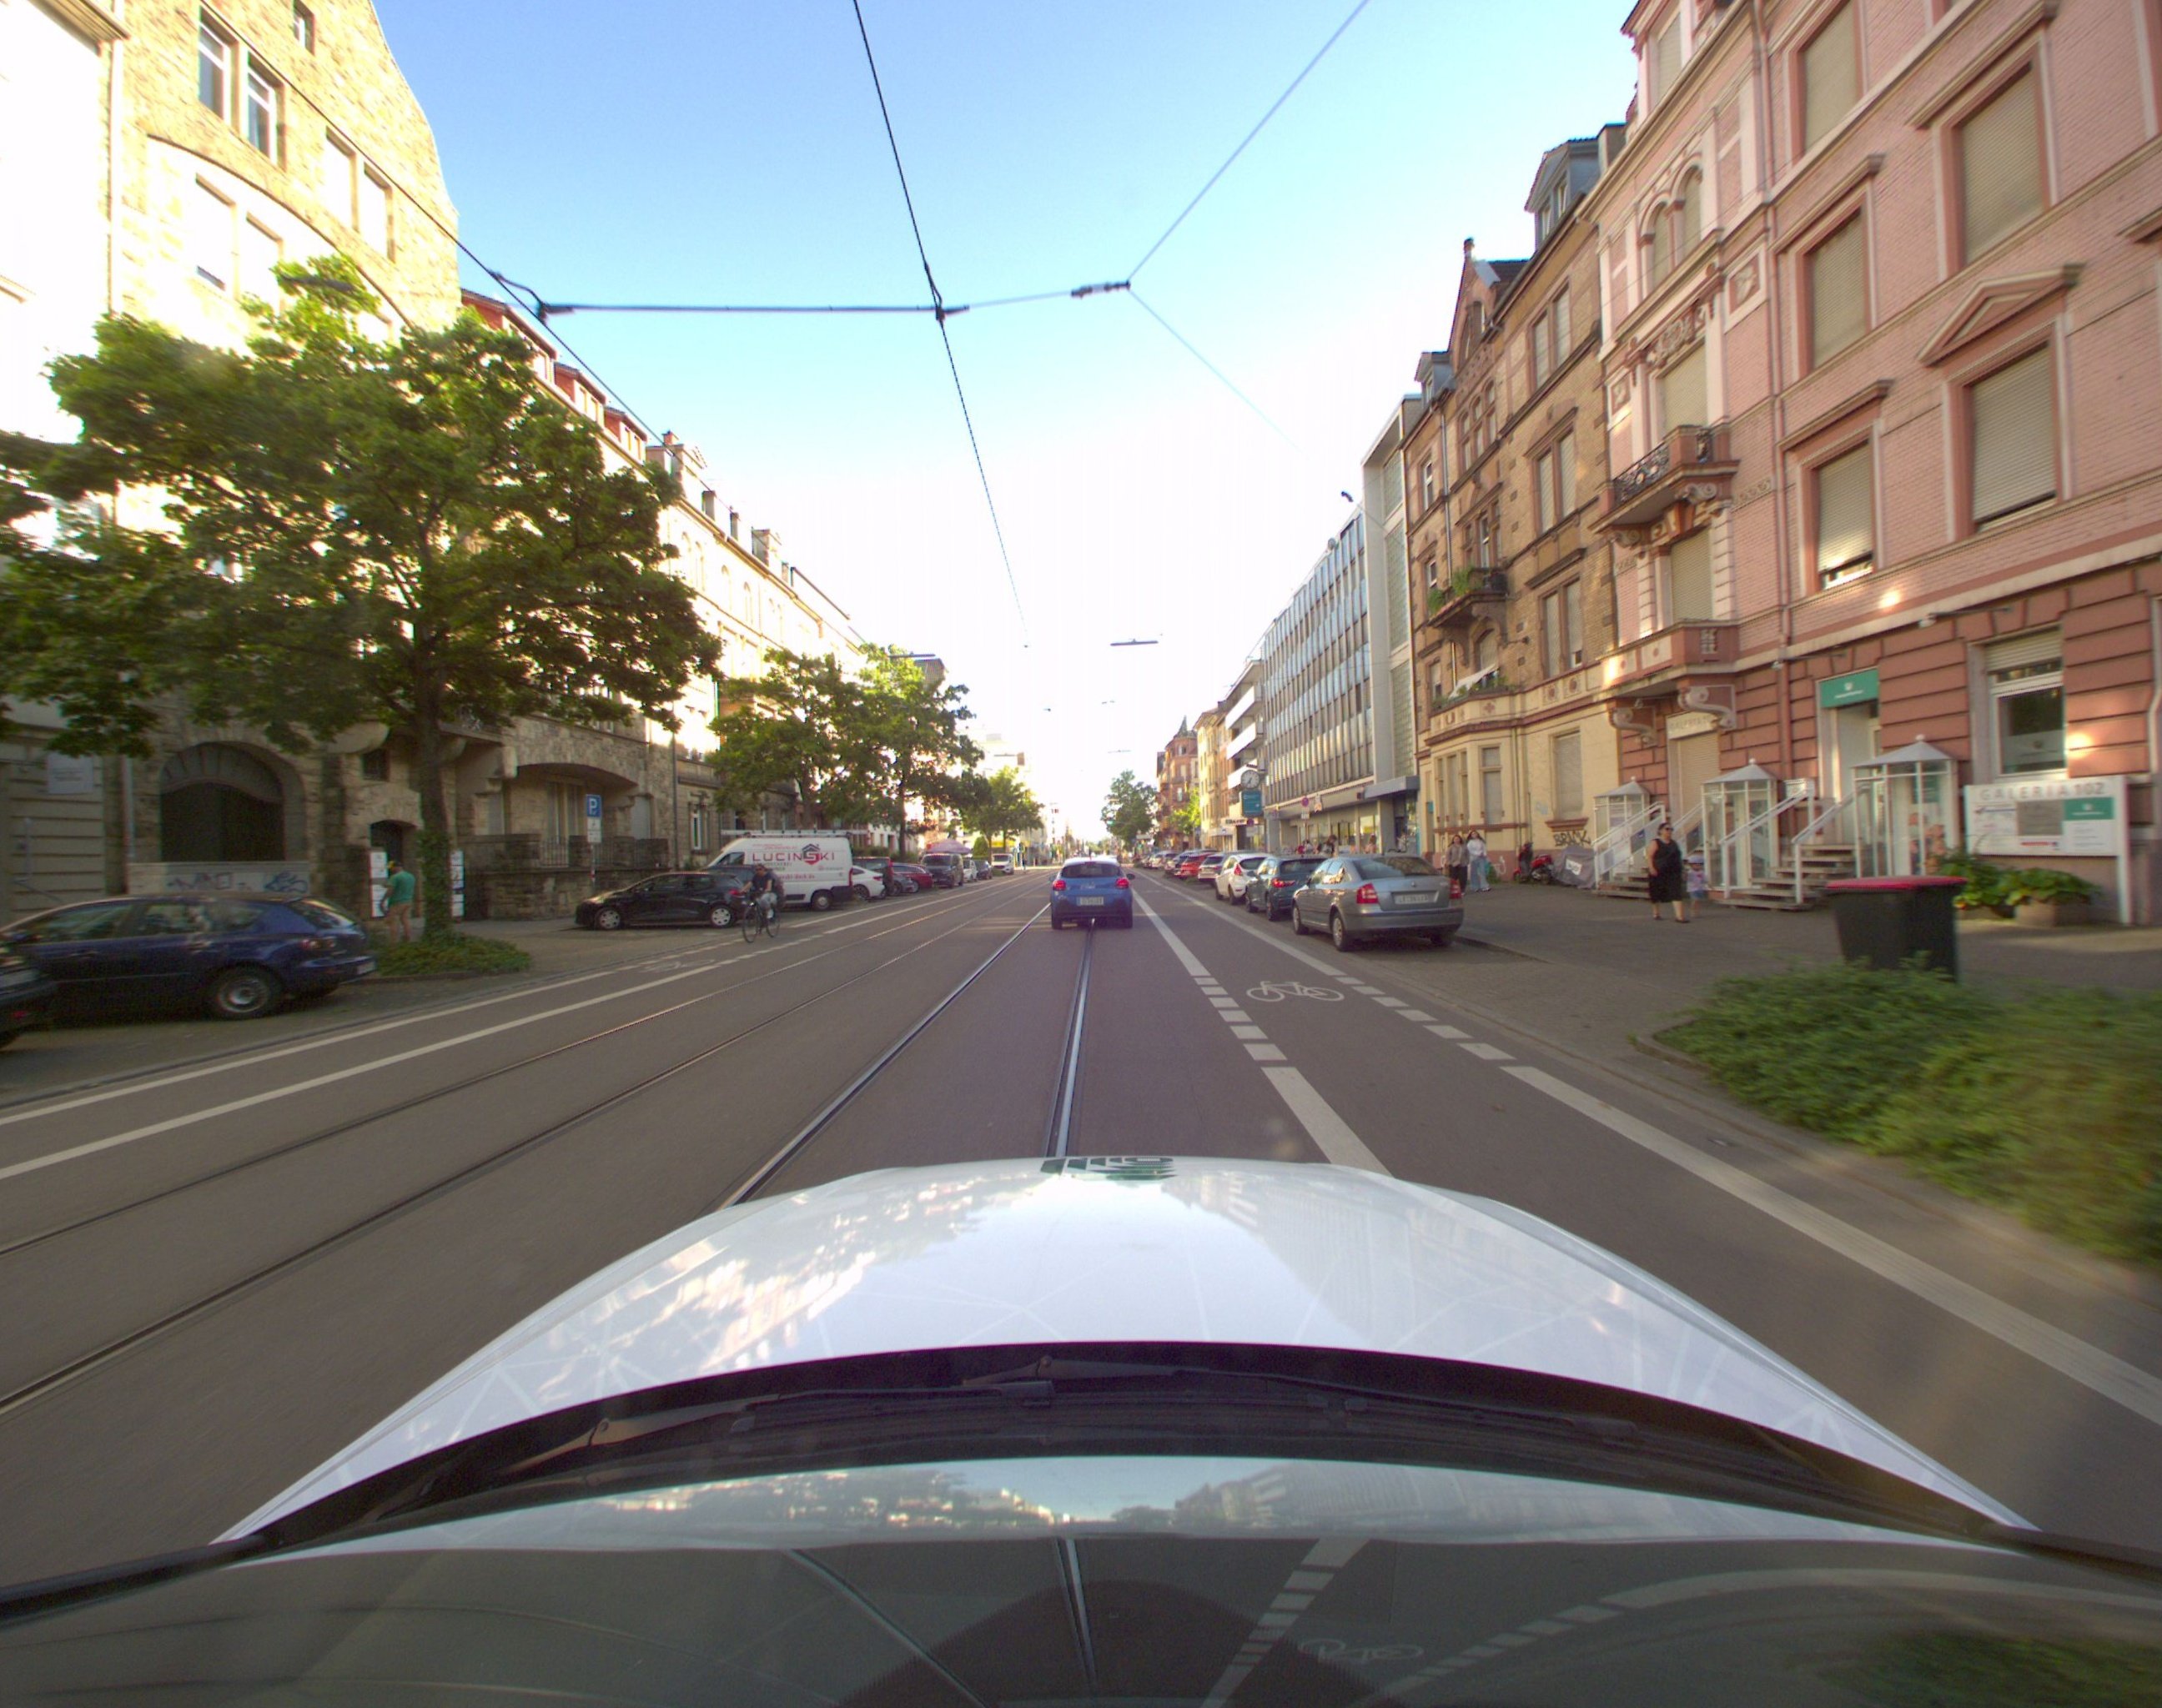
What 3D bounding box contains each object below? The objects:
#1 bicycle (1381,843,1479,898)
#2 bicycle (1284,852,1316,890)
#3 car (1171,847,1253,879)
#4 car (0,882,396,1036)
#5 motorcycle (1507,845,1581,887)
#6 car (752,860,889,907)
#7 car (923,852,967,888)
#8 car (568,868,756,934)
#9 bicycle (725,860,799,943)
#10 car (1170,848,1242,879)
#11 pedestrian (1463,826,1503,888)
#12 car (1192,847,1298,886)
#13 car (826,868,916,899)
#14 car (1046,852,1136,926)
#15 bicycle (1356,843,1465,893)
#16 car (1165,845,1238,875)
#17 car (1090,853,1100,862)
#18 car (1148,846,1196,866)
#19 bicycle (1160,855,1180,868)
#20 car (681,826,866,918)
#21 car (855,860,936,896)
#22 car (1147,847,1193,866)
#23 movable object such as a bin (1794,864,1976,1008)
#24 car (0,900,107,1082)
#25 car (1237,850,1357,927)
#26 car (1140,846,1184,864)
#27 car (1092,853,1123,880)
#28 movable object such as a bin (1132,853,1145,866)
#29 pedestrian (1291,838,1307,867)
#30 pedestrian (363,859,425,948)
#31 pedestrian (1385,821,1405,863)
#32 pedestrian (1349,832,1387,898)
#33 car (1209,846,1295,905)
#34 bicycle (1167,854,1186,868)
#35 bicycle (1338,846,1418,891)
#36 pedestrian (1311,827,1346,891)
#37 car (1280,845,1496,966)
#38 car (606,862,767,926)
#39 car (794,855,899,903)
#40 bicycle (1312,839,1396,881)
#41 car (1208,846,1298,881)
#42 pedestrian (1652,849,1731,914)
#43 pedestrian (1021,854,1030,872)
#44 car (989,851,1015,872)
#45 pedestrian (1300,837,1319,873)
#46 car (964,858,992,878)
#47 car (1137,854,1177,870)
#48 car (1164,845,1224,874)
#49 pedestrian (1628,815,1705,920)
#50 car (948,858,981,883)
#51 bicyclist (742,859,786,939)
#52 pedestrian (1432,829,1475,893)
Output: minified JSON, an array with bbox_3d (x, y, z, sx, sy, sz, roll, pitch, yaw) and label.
[{"bbox_3d":[8.437,0.394,19.739,2.050,1.221,0.663,-2,-1,-1],"label":"bicycle"},{"bbox_3d":[7.039,0.548,26.232,0.690,1.185,1.239,-1,-1,1],"label":"bicycle"},{"bbox_3d":[6.709,0.460,41.689,3.743,1.521,1.949,-1,-1,-32],"label":"car"},{"bbox_3d":[-10.952,1.152,9.632,4.008,1.489,1.790,-1,-1,-27],"label":"car"},{"bbox_3d":[12.241,0.307,21.623,0.505,0.991,2.520,-5,-1,2],"label":"motorcycle"},{"bbox_3d":[-10.019,1.087,31.448,4.787,1.618,1.695,-1,-1,-31],"label":"car"},{"bbox_3d":[-7.877,0.895,47.532,1.742,1.973,5.237,-1,0,-1],"label":"car"},{"bbox_3d":[-10.666,1.160,21.041,3.994,1.489,1.797,-1,-1,-15],"label":"car"},{"bbox_3d":[-6.878,0.979,17.675,0.678,1.678,2.097,-1,-1,2],"label":"bicycle"},{"bbox_3d":[6.784,0.489,44.187,3.463,1.555,1.806,-1,-1,-30],"label":"car"},{"bbox_3d":[10.687,0.073,21.685,0.709,1.607,0.654,-1,-1,0],"label":"pedestrian"},{"bbox_3d":[6.982,0.511,34.565,4.465,1.508,1.522,-1,-1,-28],"label":"car"},{"bbox_3d":[-9.651,1.308,37.400,3.815,1.265,1.504,-1,-1,-24],"label":"car"},{"bbox_3d":[0.247,0.709,18.014,1.756,1.441,3.557,-1,0,1],"label":"car"},{"bbox_3d":[8.481,0.354,21.021,2.529,1.221,0.664,-1,-1,0],"label":"bicycle"},{"bbox_3d":[6.996,0.353,47.309,3.743,1.652,2.027,-1,-1,-32],"label":"car"},{"bbox_3d":[2.211,0.577,129.820,1.417,1.432,3.140,-1,0,2],"label":"car"},{"bbox_3d":[7.835,0.165,69.896,3.674,1.574,1.844,-1,-1,-27],"label":"car"},{"bbox_3d":[7.220,0.600,65.870,0.557,1.047,1.789,-1,-1,-34],"label":"bicycle"},{"bbox_3d":[-9.970,0.508,26.544,5.402,2.749,1.789,-1,-1,-29],"label":"car"},{"bbox_3d":[-9.246,1.175,40.593,3.736,1.622,1.777,-1,-1,-20],"label":"car"},{"bbox_3d":[7.891,0.196,72.410,3.664,1.574,1.849,-1,-1,-18],"label":"car"},{"bbox_3d":[6.256,0.607,6.384,0.602,1.027,0.806,-2,-1,1],"label":"movable object such as a bin"},{"bbox_3d":[-11.336,1.240,6.606,4.013,1.489,1.788,-1,-1,-31],"label":"car"},{"bbox_3d":[4.953,0.740,19.229,1.866,1.596,4.002,-1,0,2],"label":"car"},{"bbox_3d":[7.558,0.079,75.995,3.664,1.574,1.849,-1,-1,-18],"label":"car"},{"bbox_3d":[1.692,0.755,51.538,1.866,1.596,4.002,-1,0,2],"label":"car"},{"bbox_3d":[6.495,0.624,91.903,1.389,1.483,1.656,-1,-1,1],"label":"movable object such as a bin"},{"bbox_3d":[12.288,-0.068,45.829,0.690,1.587,0.678,-1,-1,1],"label":"pedestrian"},{"bbox_3d":[-13.837,0.974,16.416,0.575,1.726,0.762,-1,-1,1],"label":"pedestrian"},{"bbox_3d":[13.686,-0.521,35.493,0.718,1.806,0.725,-2,-1,19],"label":"pedestrian"},{"bbox_3d":[7.201,0.271,20.456,0.709,1.607,0.654,-1,-1,0],"label":"pedestrian"},{"bbox_3d":[5.084,0.611,24.684,1.866,1.596,4.002,-1,0,2],"label":"car"},{"bbox_3d":[7.757,0.584,66.218,0.557,1.047,1.789,-1,-1,-34],"label":"bicycle"},{"bbox_3d":[8.446,0.401,23.169,2.012,1.221,0.664,-1,-1,1],"label":"bicycle"},{"bbox_3d":[6.647,0.138,21.913,0.709,1.671,0.654,-1,-1,0],"label":"pedestrian"},{"bbox_3d":[4.717,0.708,13.336,1.866,1.596,4.721,-1,0,2],"label":"car"},{"bbox_3d":[-11.214,1.098,23.382,4.006,1.618,1.699,-1,-1,-24],"label":"car"},{"bbox_3d":[-9.838,1.016,34.196,4.006,1.817,1.699,-1,-1,-24],"label":"car"},{"bbox_3d":[8.422,0.198,25.217,2.347,1.221,0.664,-1,-1,4],"label":"bicycle"},{"bbox_3d":[7.986,0.421,37.840,3.796,1.487,1.822,-1,-1,-28],"label":"car"},{"bbox_3d":[9.933,0.436,13.271,0.709,0.980,0.654,-5,-1,0],"label":"pedestrian"},{"bbox_3d":[-5.357,0.857,78.666,0.732,1.726,0.623,-1,-1,-23],"label":"pedestrian"},{"bbox_3d":[-7.281,0.731,75.433,1.825,1.848,4.215,-1,0,2],"label":"car"},{"bbox_3d":[11.351,0.040,40.443,0.690,1.756,0.678,-1,-1,1],"label":"pedestrian"},{"bbox_3d":[-7.826,1.057,62.139,1.742,1.487,4.039,-1,0,-2],"label":"car"},{"bbox_3d":[7.673,0.812,82.571,3.664,1.534,1.778,-1,-1,-18],"label":"car"},{"bbox_3d":[6.973,0.330,50.079,3.467,1.640,1.666,-1,-1,-35],"label":"car"},{"bbox_3d":[9.252,0.207,12.887,0.709,1.607,0.654,-1,-1,0],"label":"pedestrian"},{"bbox_3d":[-8.055,1.102,56.513,1.742,1.618,4.408,-1,0,-2],"label":"car"},{"bbox_3d":[-6.868,0.960,17.676,0.632,1.681,0.727,-1,-1,1],"label":"bicyclist"},{"bbox_3d":[9.895,0.183,21.639,0.709,1.607,0.654,-5,-1,0],"label":"pedestrian"}]
